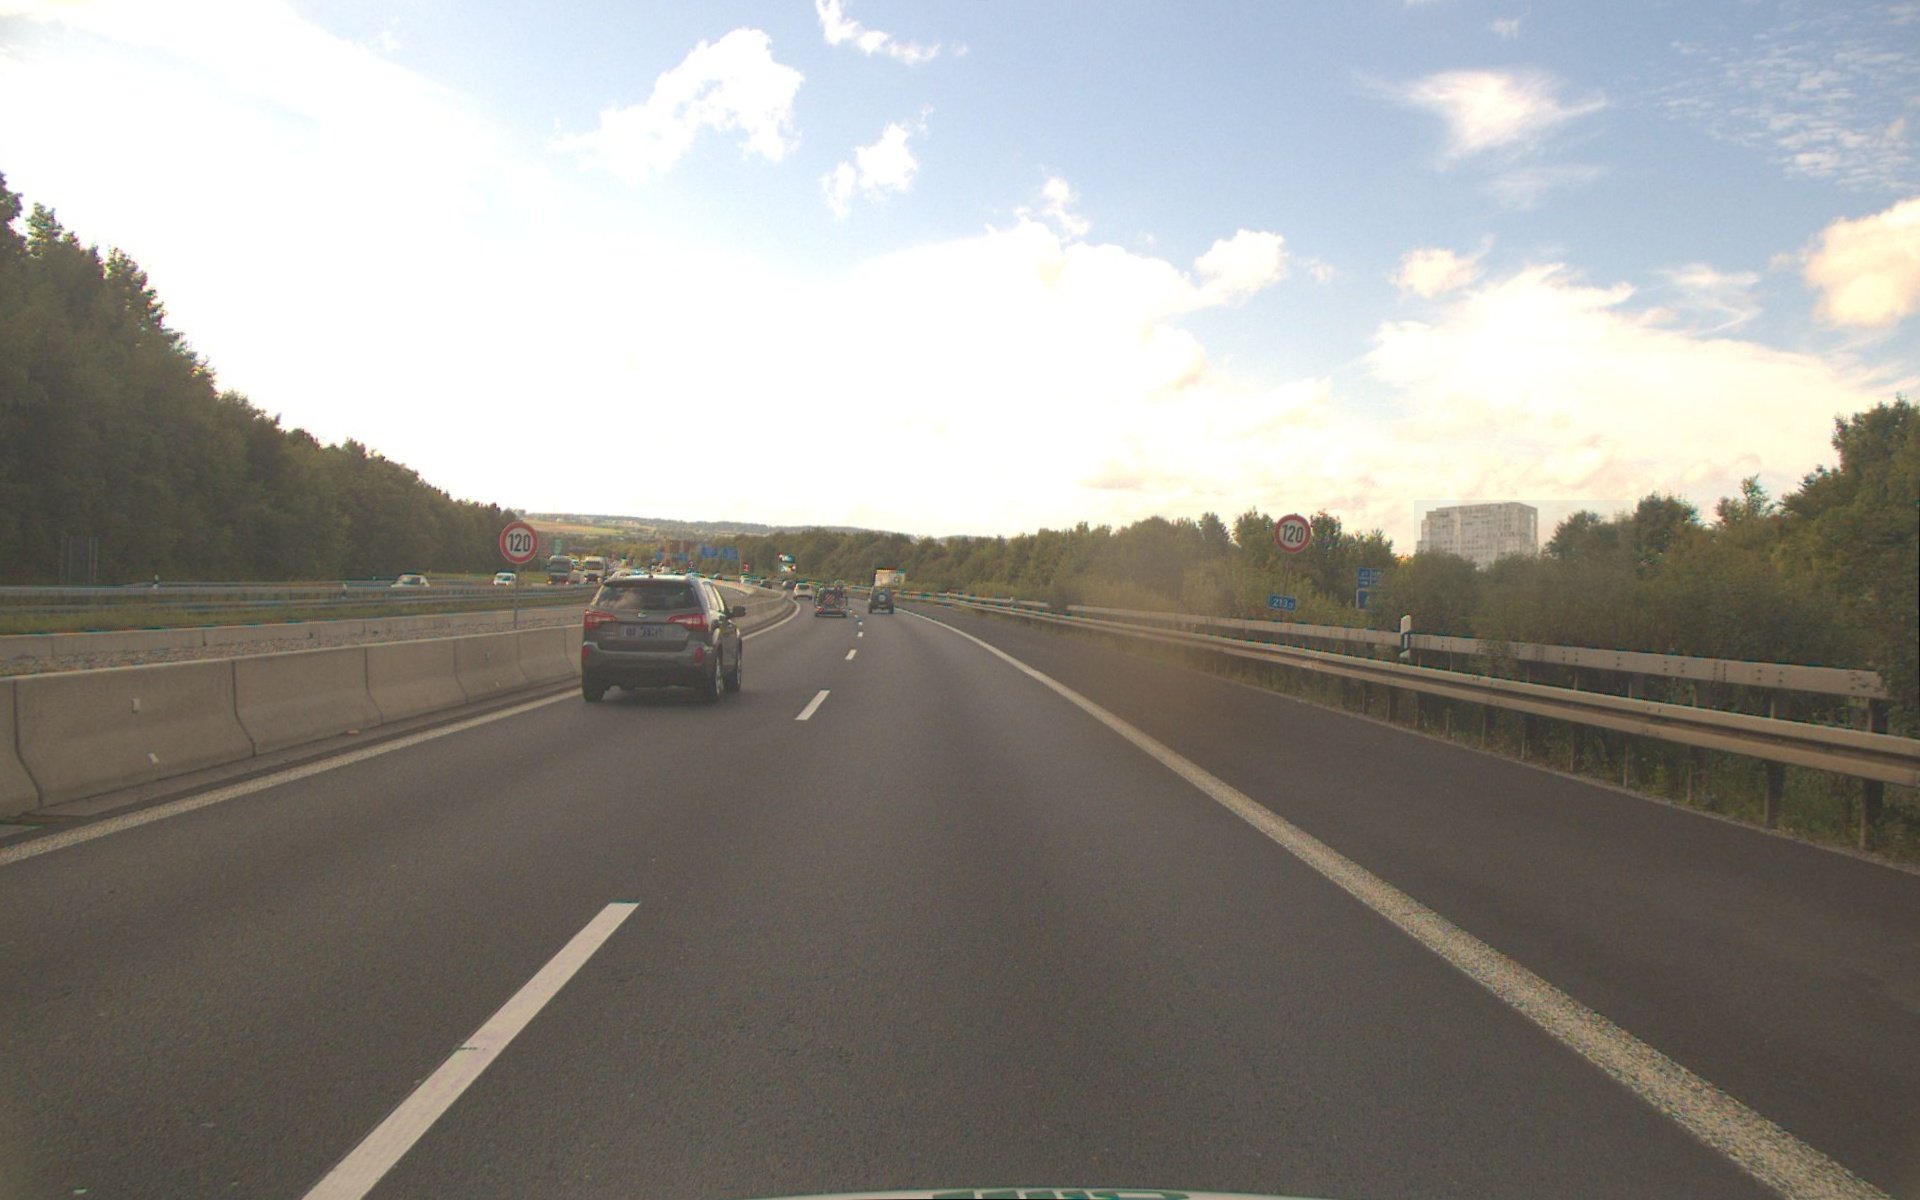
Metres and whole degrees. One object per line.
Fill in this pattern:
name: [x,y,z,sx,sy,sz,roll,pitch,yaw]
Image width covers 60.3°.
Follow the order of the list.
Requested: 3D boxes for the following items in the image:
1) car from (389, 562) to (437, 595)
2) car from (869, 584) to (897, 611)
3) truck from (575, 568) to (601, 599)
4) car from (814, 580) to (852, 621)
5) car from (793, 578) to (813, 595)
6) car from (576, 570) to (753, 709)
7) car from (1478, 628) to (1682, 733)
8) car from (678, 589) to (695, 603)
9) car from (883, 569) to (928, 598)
car: [-35.311,-1.380,106.872,1.954,2.049,3.998,1,0,-3]
car: [-4.909,-0.157,105.425,1.556,1.625,4.091,1,0,-5]
truck: [-54.151,-2.371,240.999,3.260,4.368,6.733,1,-1,-9]
car: [-6.991,-0.001,91.327,1.990,2.189,3.998,1,1,-3]
car: [-16.910,-1.449,177.773,1.956,1.713,3.992,1,-1,-9]
car: [-4.149,0.508,24.009,1.781,1.766,5.184,1,0,-2]
car: [11.021,1.379,29.734,1.749,1.599,4.340,1,0,-4]
car: [-33.338,-0.456,201.960,1.679,1.554,4.761,1,-1,-5]
car: [-8.820,-2.579,264.996,4.650,4.341,11.357,1,-1,-15]
